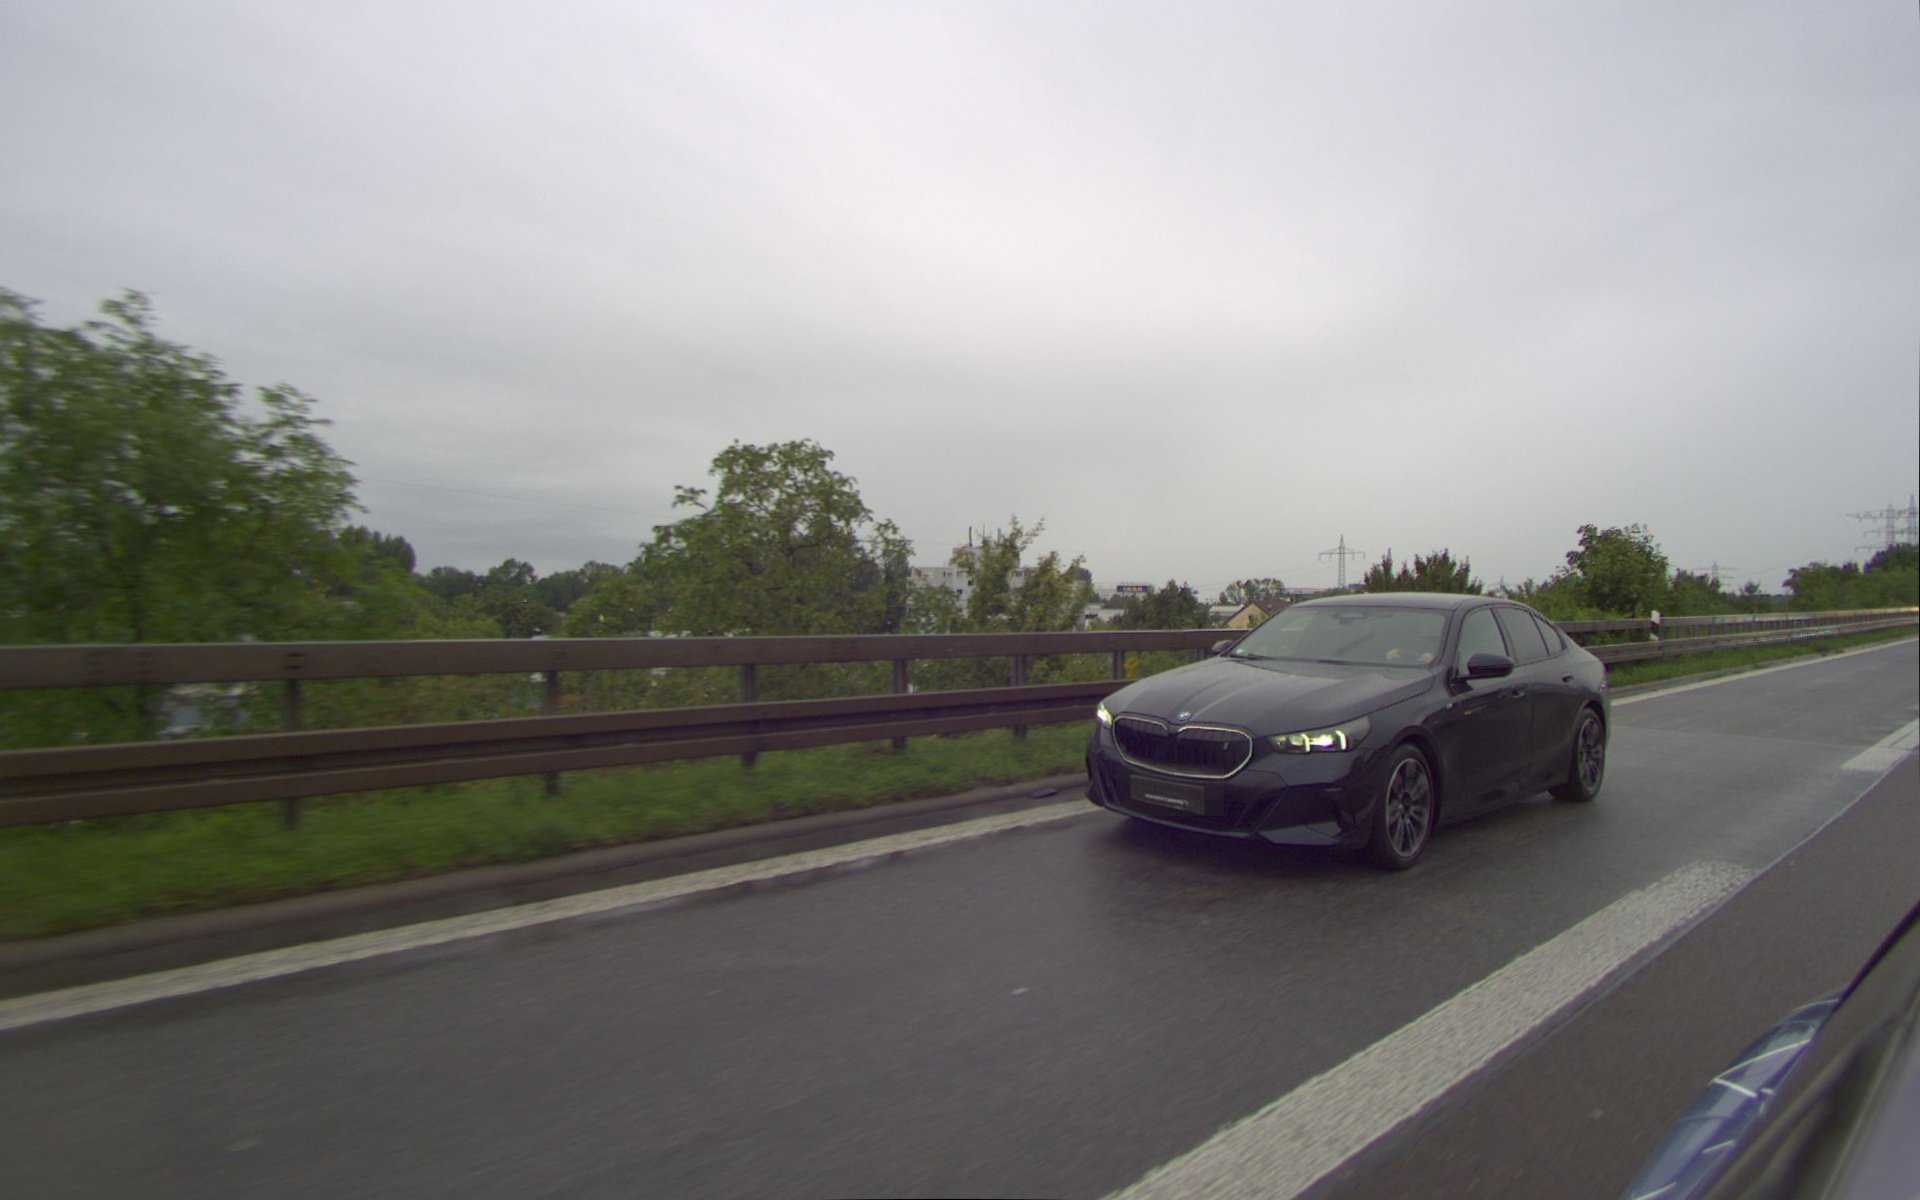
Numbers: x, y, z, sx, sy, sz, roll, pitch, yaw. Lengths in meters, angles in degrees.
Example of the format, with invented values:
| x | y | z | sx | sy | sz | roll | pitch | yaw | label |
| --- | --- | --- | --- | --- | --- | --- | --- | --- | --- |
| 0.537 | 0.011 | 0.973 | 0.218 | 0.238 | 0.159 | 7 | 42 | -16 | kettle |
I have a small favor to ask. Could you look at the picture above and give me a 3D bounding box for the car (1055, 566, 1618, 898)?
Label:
| x | y | z | sx | sy | sz | roll | pitch | yaw | label |
| --- | --- | --- | --- | --- | --- | --- | --- | --- | --- |
| 2.734 | 0.622 | 6.845 | 4.130 | 1.560 | 1.860 | 1 | 0 | -42 | car |
